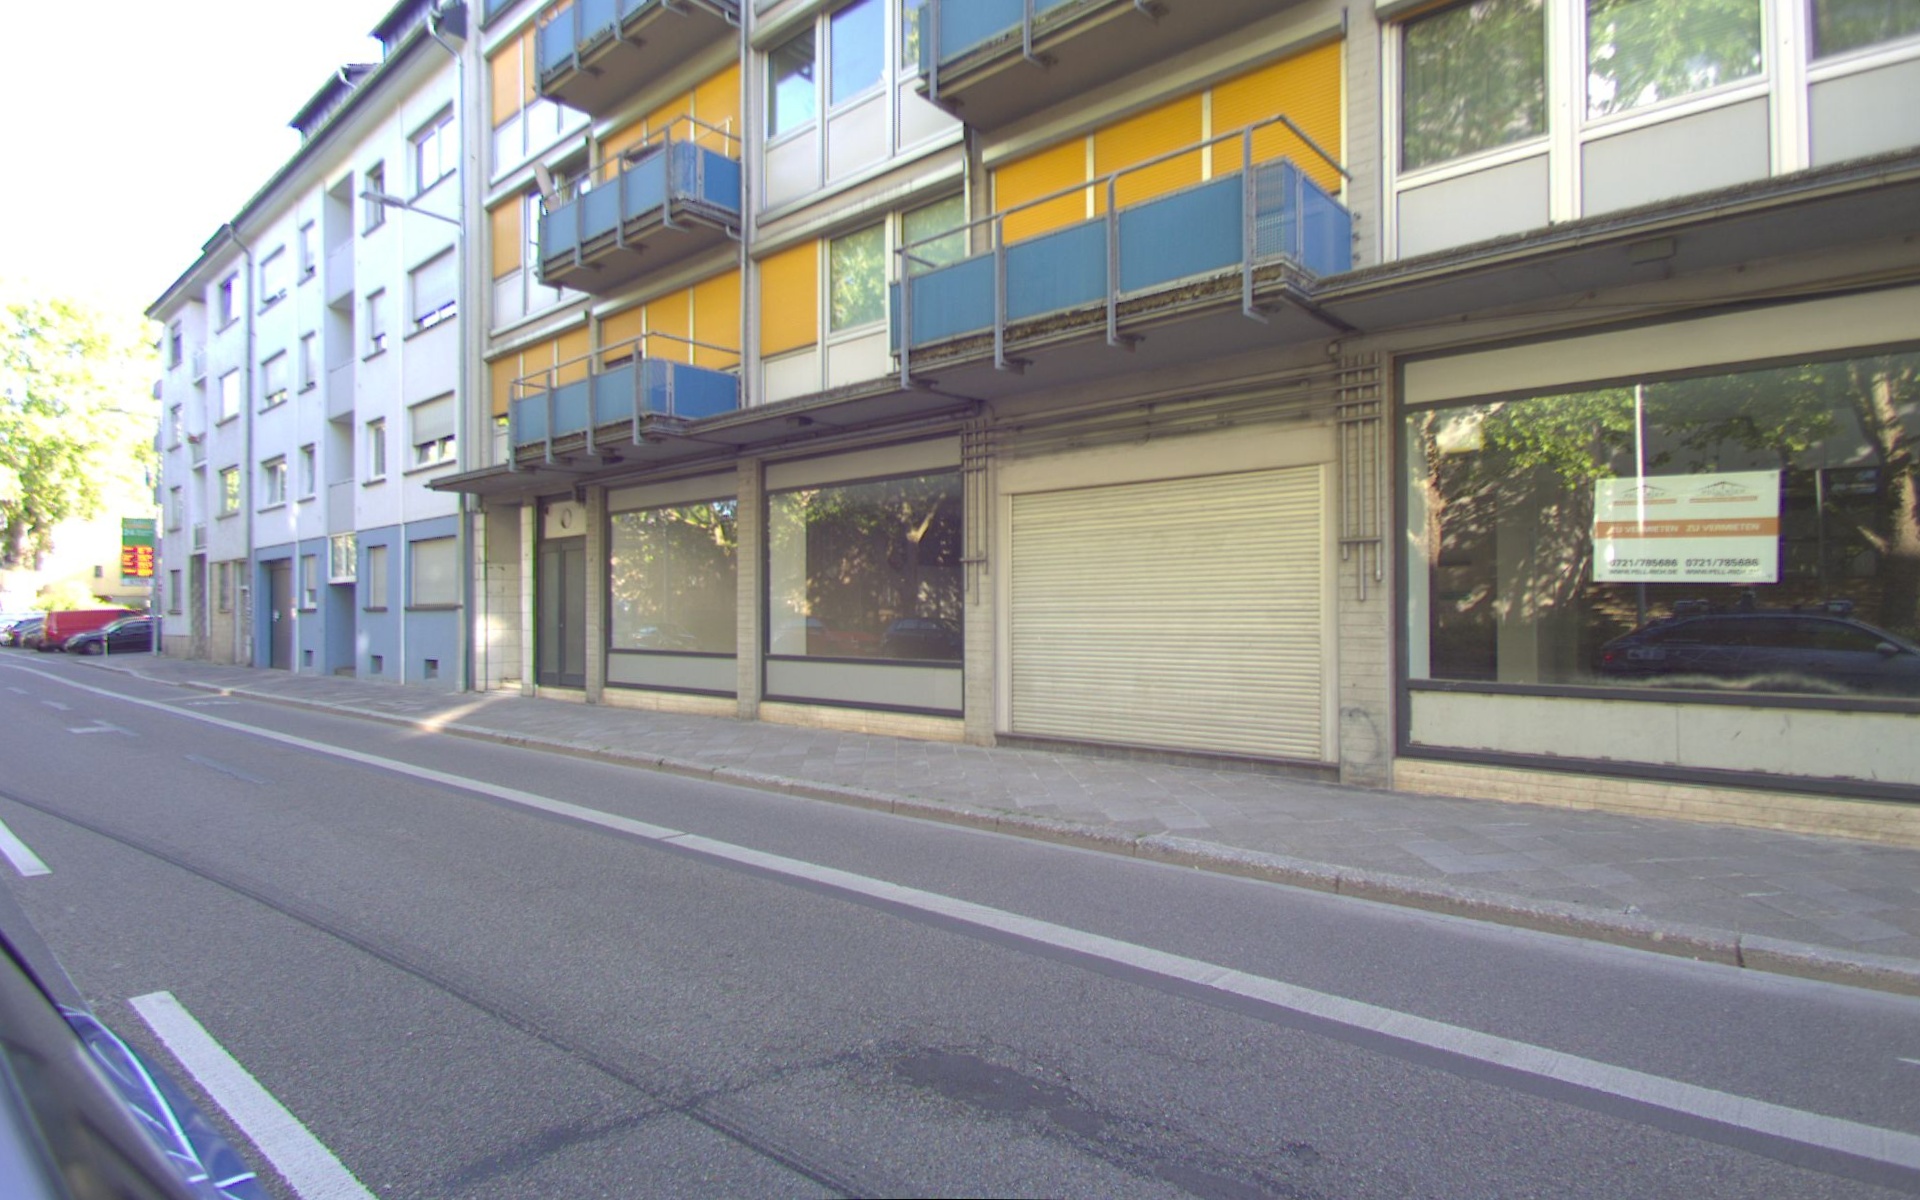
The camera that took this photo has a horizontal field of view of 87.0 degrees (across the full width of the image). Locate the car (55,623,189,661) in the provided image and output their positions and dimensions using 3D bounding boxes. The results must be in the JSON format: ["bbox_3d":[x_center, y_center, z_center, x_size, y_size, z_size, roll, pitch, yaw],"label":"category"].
[{"bbox_3d":[-36.494,1.792,44.160,1.657,1.417,4.269,-1,0,40],"label":"car"}]

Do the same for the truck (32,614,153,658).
[{"bbox_3d":[-40.720,1.646,47.574,1.999,1.939,4.040,-1,0,40],"label":"truck"}]

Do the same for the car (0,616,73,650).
[{"bbox_3d":[-59.342,2.091,64.403,2.000,2.052,4.180,-1,0,43],"label":"car"}]

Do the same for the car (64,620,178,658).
[{"bbox_3d":[-38.045,1.728,45.943,1.657,1.583,3.762,-1,0,41],"label":"car"}]

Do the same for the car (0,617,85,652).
[{"bbox_3d":[-56.058,2.062,61.473,2.000,1.971,4.180,-1,0,43],"label":"car"}]
